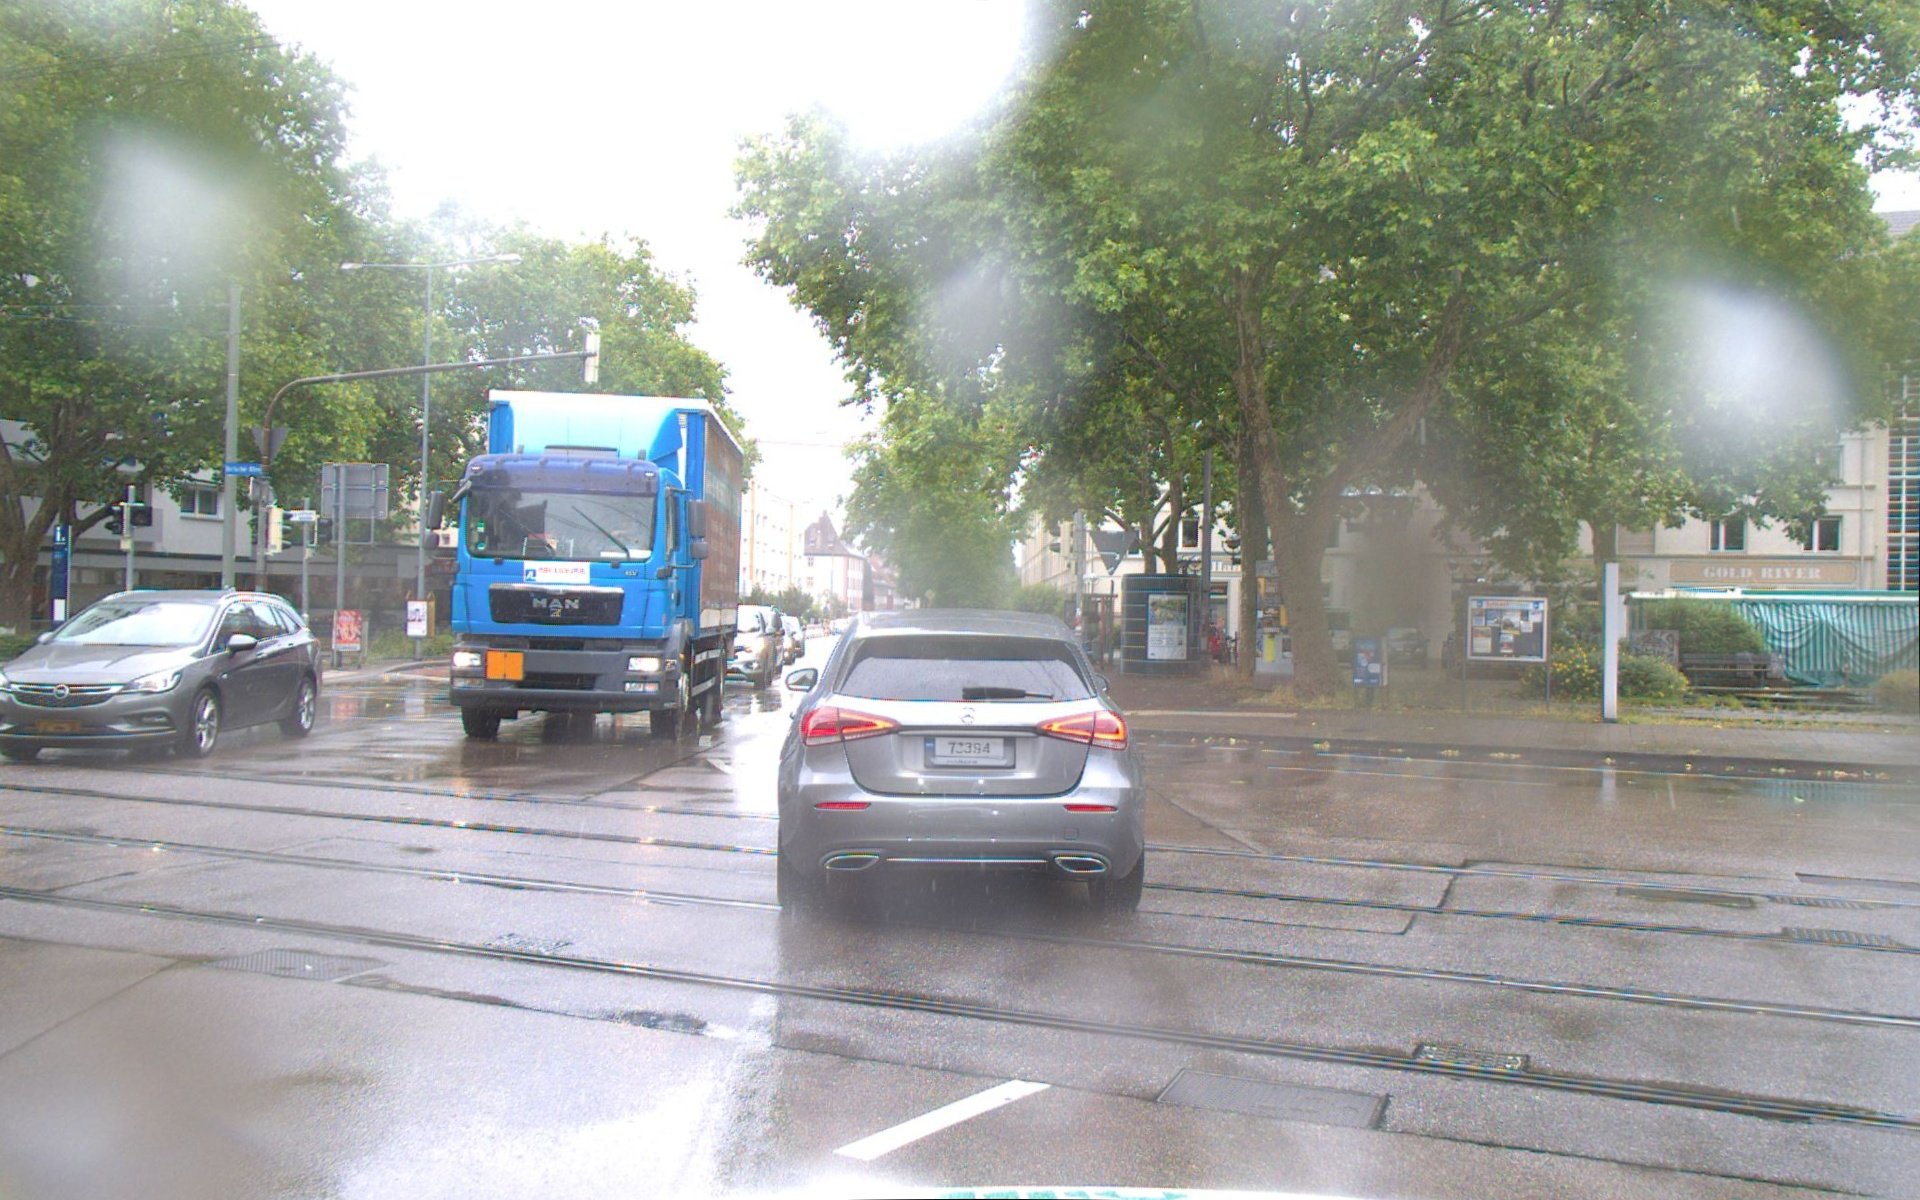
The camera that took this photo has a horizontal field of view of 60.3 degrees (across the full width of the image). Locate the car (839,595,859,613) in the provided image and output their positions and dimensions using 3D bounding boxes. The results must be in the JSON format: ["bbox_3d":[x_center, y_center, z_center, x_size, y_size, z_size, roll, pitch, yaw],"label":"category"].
[{"bbox_3d":[-12.164,0.489,181.417,1.851,1.868,4.000,1,-1,0],"label":"car"}]

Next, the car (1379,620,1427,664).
[{"bbox_3d":[16.957,1.600,63.215,1.644,1.603,3.737,1,-2,17],"label":"car"}]

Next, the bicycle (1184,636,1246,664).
[{"bbox_3d":[9.546,1.858,61.920,2.200,0.985,0.585,1,-1,20],"label":"bicycle"}]

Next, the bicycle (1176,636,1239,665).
[{"bbox_3d":[9.073,1.849,60.686,2.234,1.000,0.545,1,-1,20],"label":"bicycle"}]

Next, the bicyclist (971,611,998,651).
[{"bbox_3d":[1.178,1.514,79.798,0.925,1.901,1.135,1,-3,-22],"label":"bicyclist"}]

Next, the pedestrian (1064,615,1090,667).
[{"bbox_3d":[3.840,1.336,54.432,0.703,1.698,0.664,1,-1,-8],"label":"pedestrian"}]

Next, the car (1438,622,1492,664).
[{"bbox_3d":[19.277,1.667,63.089,1.645,1.457,3.734,0,-3,22],"label":"car"}]

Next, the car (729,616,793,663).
[{"bbox_3d":[-6.395,1.282,53.467,1.708,1.414,4.359,2,-1,-3],"label":"car"}]

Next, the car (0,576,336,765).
[{"bbox_3d":[-7.579,0.610,15.993,1.692,1.573,4.336,0,-1,-4],"label":"car"}]

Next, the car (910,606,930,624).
[{"bbox_3d":[-4.202,1.588,174.386,2.004,1.868,4.791,1,-1,0],"label":"car"}]

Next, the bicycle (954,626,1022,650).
[{"bbox_3d":[1.348,1.846,79.903,3.161,1.132,1.047,1,-3,-22],"label":"bicycle"}]

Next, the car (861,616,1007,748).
[{"bbox_3d":[-0.393,0.903,19.813,1.575,1.396,3.997,0,0,-4],"label":"car"}]

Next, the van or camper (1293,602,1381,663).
[{"bbox_3d":[14.704,1.262,64.309,2.348,2.270,5.426,0,-1,24],"label":"van or camper"}]

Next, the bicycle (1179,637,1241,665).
[{"bbox_3d":[9.274,1.877,61.304,2.205,0.985,0.534,1,-1,20],"label":"bicycle"}]

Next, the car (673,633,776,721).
[{"bbox_3d":[-4.746,1.517,33.788,1.708,1.632,3.997,1,-1,-3],"label":"car"}]

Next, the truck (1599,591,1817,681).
[{"bbox_3d":[24.232,1.151,53.864,6.245,2.747,2.269,1,-1,18],"label":"truck"}]

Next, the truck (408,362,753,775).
[{"bbox_3d":[-4.411,-0.269,21.645,2.789,4.096,10.307,0,-1,-4],"label":"truck"}]

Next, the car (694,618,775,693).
[{"bbox_3d":[-5.951,1.430,44.117,1.771,1.894,4.106,1,-1,-3],"label":"car"}]

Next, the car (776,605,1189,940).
[{"bbox_3d":[0.002,0.766,8.936,1.756,1.396,3.504,2,-1,-4],"label":"car"}]

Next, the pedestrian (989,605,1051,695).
[{"bbox_3d":[0.981,0.791,26.739,0.728,1.422,1.047,0,-1,19],"label":"pedestrian"}]

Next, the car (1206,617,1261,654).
[{"bbox_3d":[10.865,1.429,65.503,1.550,1.360,3.262,0,-3,20],"label":"car"}]

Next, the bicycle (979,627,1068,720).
[{"bbox_3d":[1.074,1.161,26.991,0.733,1.401,2.708,0,-1,18],"label":"bicycle"}]
